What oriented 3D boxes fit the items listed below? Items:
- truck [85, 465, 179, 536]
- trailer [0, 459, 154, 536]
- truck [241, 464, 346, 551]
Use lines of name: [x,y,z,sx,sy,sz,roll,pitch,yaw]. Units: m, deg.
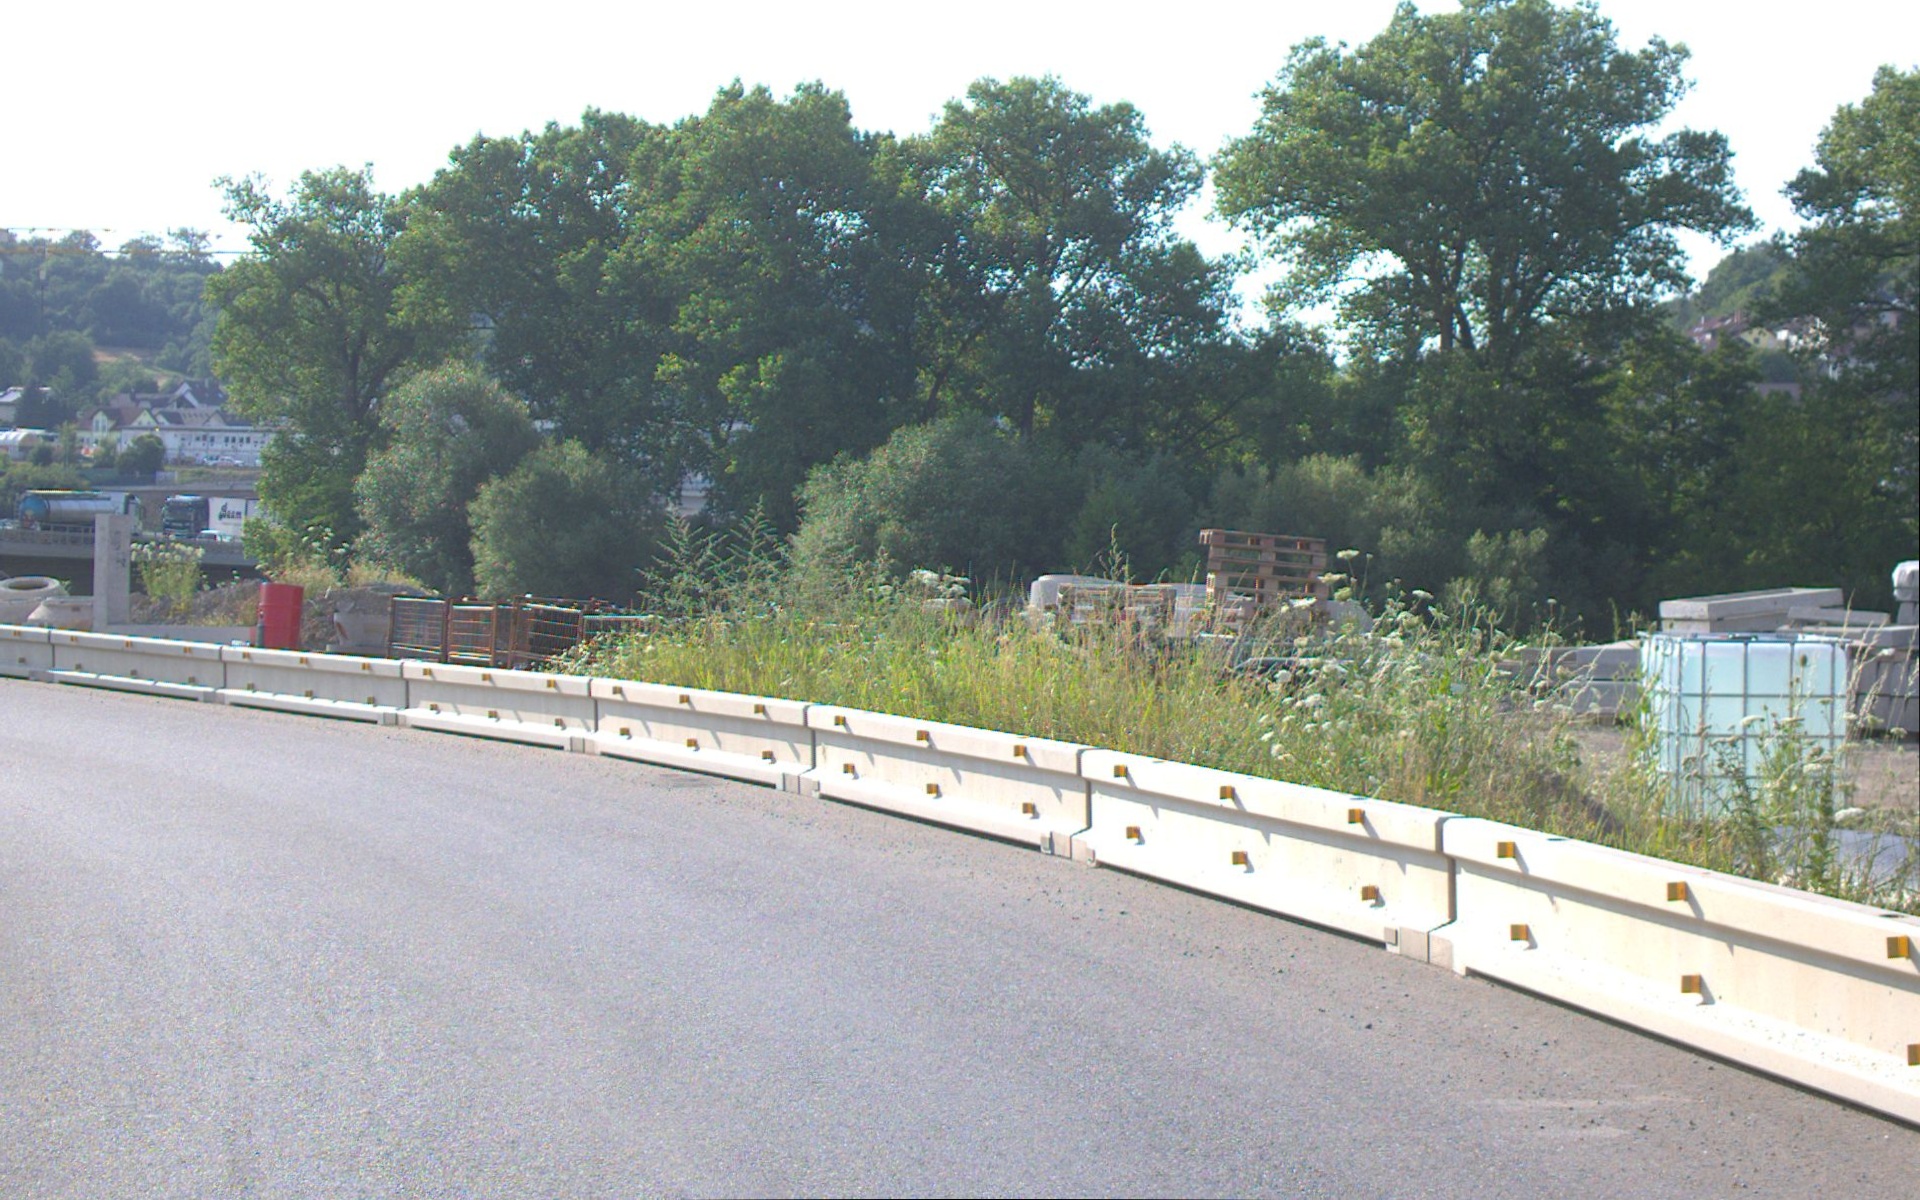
truck: [-52.677,-6.290,218.881,3.099,4.271,6.621,3,1,12]
trailer: [-54.203,-6.235,211.495,3.105,4.299,14.245,3,1,11]
truck: [-47.108,-6.487,243.451,3.166,5.850,10.669,1,1,13]
